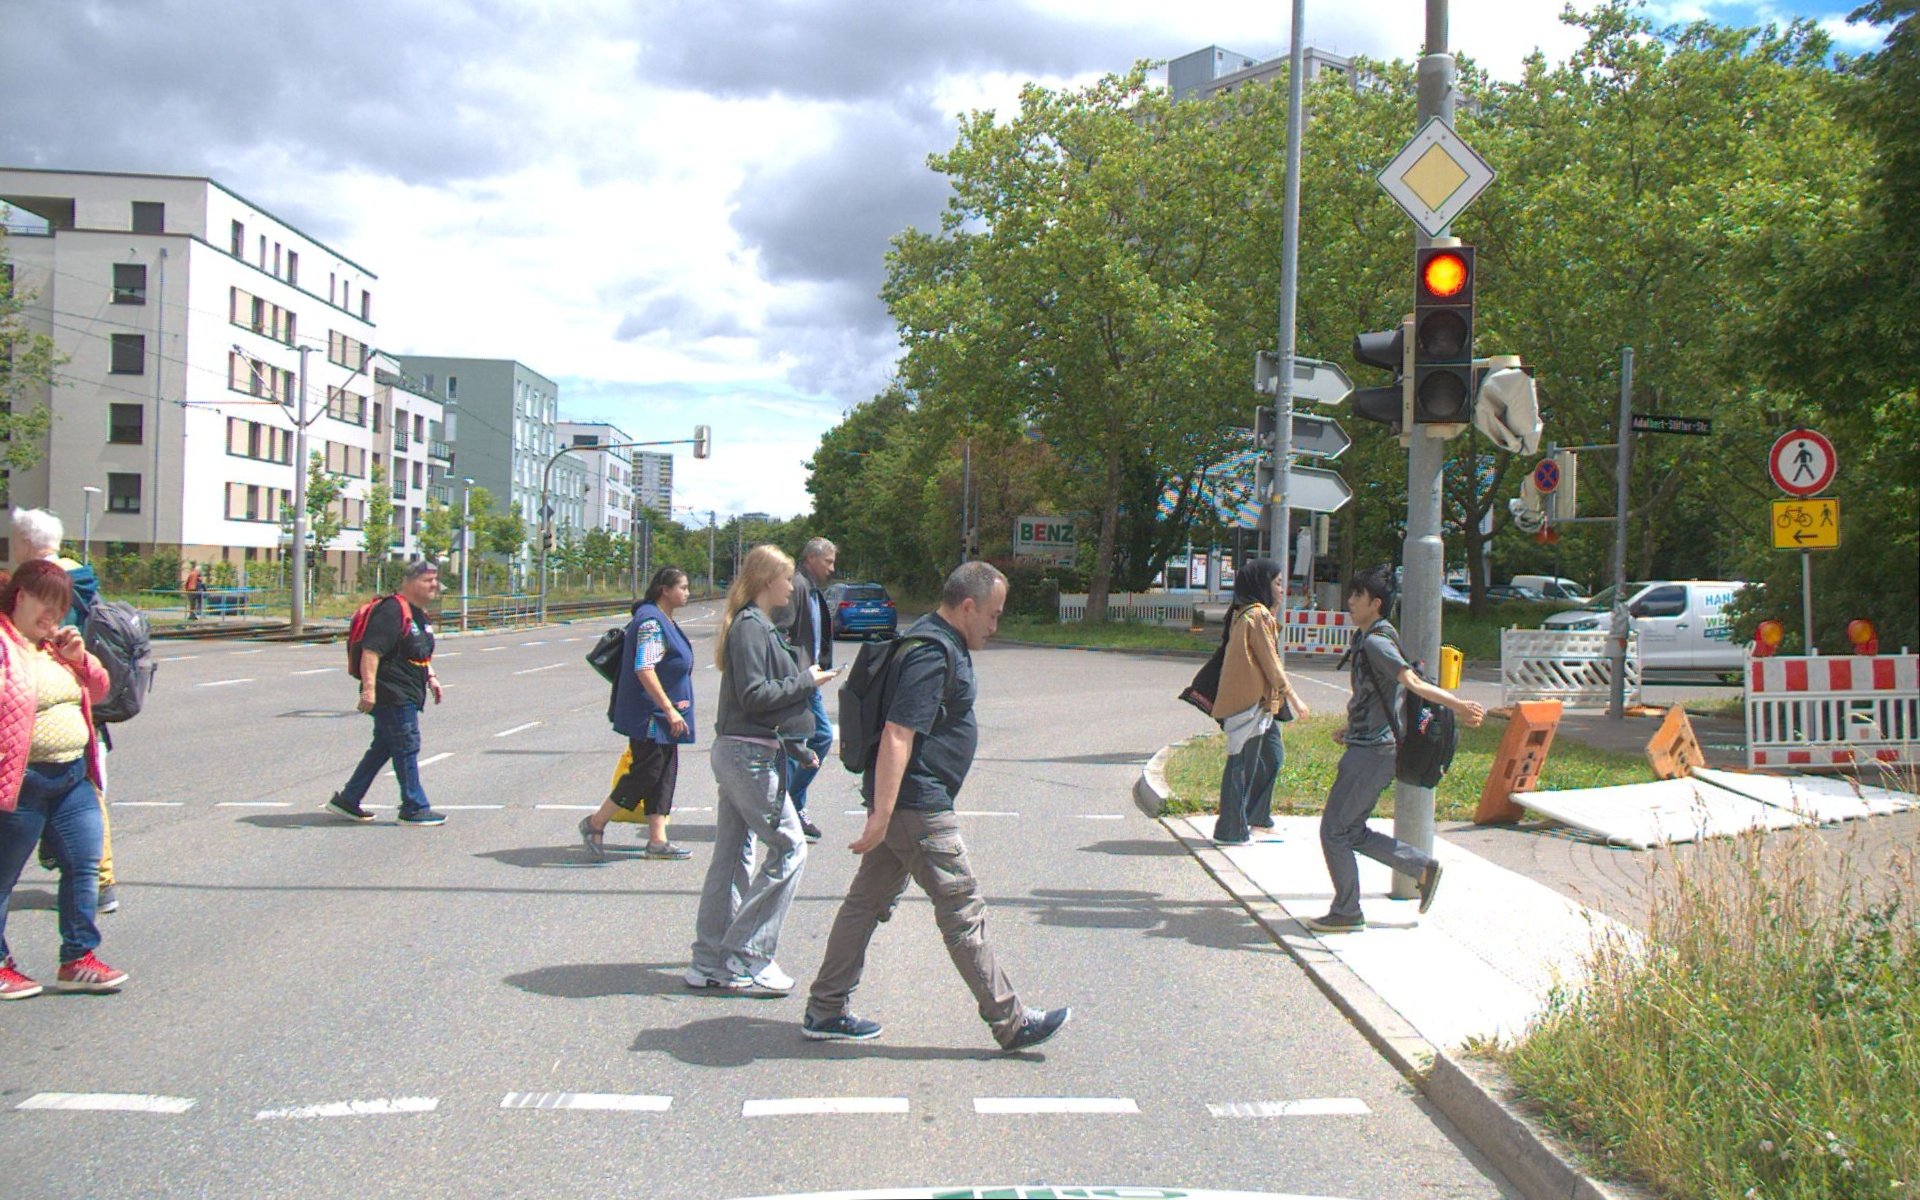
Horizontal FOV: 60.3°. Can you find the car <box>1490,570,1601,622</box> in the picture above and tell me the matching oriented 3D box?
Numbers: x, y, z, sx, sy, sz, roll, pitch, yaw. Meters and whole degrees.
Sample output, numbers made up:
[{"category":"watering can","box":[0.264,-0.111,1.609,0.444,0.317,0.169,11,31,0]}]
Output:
[{"category":"car","box":[23.932,-0.181,67.701,1.974,2.049,3.957,0,1,-32]}]

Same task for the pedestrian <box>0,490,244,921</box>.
[{"category":"pedestrian","box":[-3.914,0.439,7.413,0.989,1.805,0.948,1,0,-3]}]

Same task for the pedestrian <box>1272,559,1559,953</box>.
[{"category":"pedestrian","box":[1.930,0.626,7.115,0.928,1.579,0.842,1,0,-7]}]

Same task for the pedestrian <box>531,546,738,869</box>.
[{"category":"pedestrian","box":[-1.726,0.543,8.917,0.893,1.635,0.929,1,0,1]}]

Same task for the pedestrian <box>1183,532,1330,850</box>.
[{"category":"pedestrian","box":[1.719,0.503,9.704,0.765,1.773,0.829,1,0,6]}]

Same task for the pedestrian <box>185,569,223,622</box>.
[{"category":"pedestrian","box":[-22.171,-0.144,48.539,0.814,1.542,0.636,1,0,-1]}]

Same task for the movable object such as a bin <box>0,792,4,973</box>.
[{"category":"movable object such as a bin","box":[-3.950,1.049,5.760,0.779,0.673,0.778,1,0,-1]}]

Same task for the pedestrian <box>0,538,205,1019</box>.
[{"category":"pedestrian","box":[-3.267,0.581,5.817,0.863,1.582,0.746,1,0,-1]}]

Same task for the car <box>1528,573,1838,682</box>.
[{"category":"car","box":[13.426,0.497,30.864,4.976,1.906,1.947,1,0,-5]}]

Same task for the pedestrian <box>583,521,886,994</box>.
[{"category":"pedestrian","box":[-0.827,0.558,6.371,0.999,1.677,0.929,1,0,1]}]

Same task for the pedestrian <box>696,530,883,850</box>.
[{"category":"pedestrian","box":[-0.992,0.507,9.875,0.982,1.804,0.929,1,0,1]}]

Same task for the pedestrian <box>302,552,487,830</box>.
[{"category":"pedestrian","box":[-3.448,0.531,10.164,0.875,1.624,0.907,1,0,-6]}]

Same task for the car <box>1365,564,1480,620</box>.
[{"category":"car","box":[17.520,-0.314,62.831,1.974,2.049,3.957,0,1,-32]}]

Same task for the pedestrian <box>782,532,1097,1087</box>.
[{"category":"pedestrian","box":[-0.065,0.632,5.464,0.939,1.677,0.880,1,0,-1]}]

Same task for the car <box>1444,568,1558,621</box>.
[{"category":"car","box":[21.364,-0.234,65.465,1.974,2.049,3.957,0,1,-32]}]

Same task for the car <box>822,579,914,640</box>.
[{"category":"car","box":[-2.514,0.221,44.147,1.946,1.512,4.480,1,1,-10]}]
